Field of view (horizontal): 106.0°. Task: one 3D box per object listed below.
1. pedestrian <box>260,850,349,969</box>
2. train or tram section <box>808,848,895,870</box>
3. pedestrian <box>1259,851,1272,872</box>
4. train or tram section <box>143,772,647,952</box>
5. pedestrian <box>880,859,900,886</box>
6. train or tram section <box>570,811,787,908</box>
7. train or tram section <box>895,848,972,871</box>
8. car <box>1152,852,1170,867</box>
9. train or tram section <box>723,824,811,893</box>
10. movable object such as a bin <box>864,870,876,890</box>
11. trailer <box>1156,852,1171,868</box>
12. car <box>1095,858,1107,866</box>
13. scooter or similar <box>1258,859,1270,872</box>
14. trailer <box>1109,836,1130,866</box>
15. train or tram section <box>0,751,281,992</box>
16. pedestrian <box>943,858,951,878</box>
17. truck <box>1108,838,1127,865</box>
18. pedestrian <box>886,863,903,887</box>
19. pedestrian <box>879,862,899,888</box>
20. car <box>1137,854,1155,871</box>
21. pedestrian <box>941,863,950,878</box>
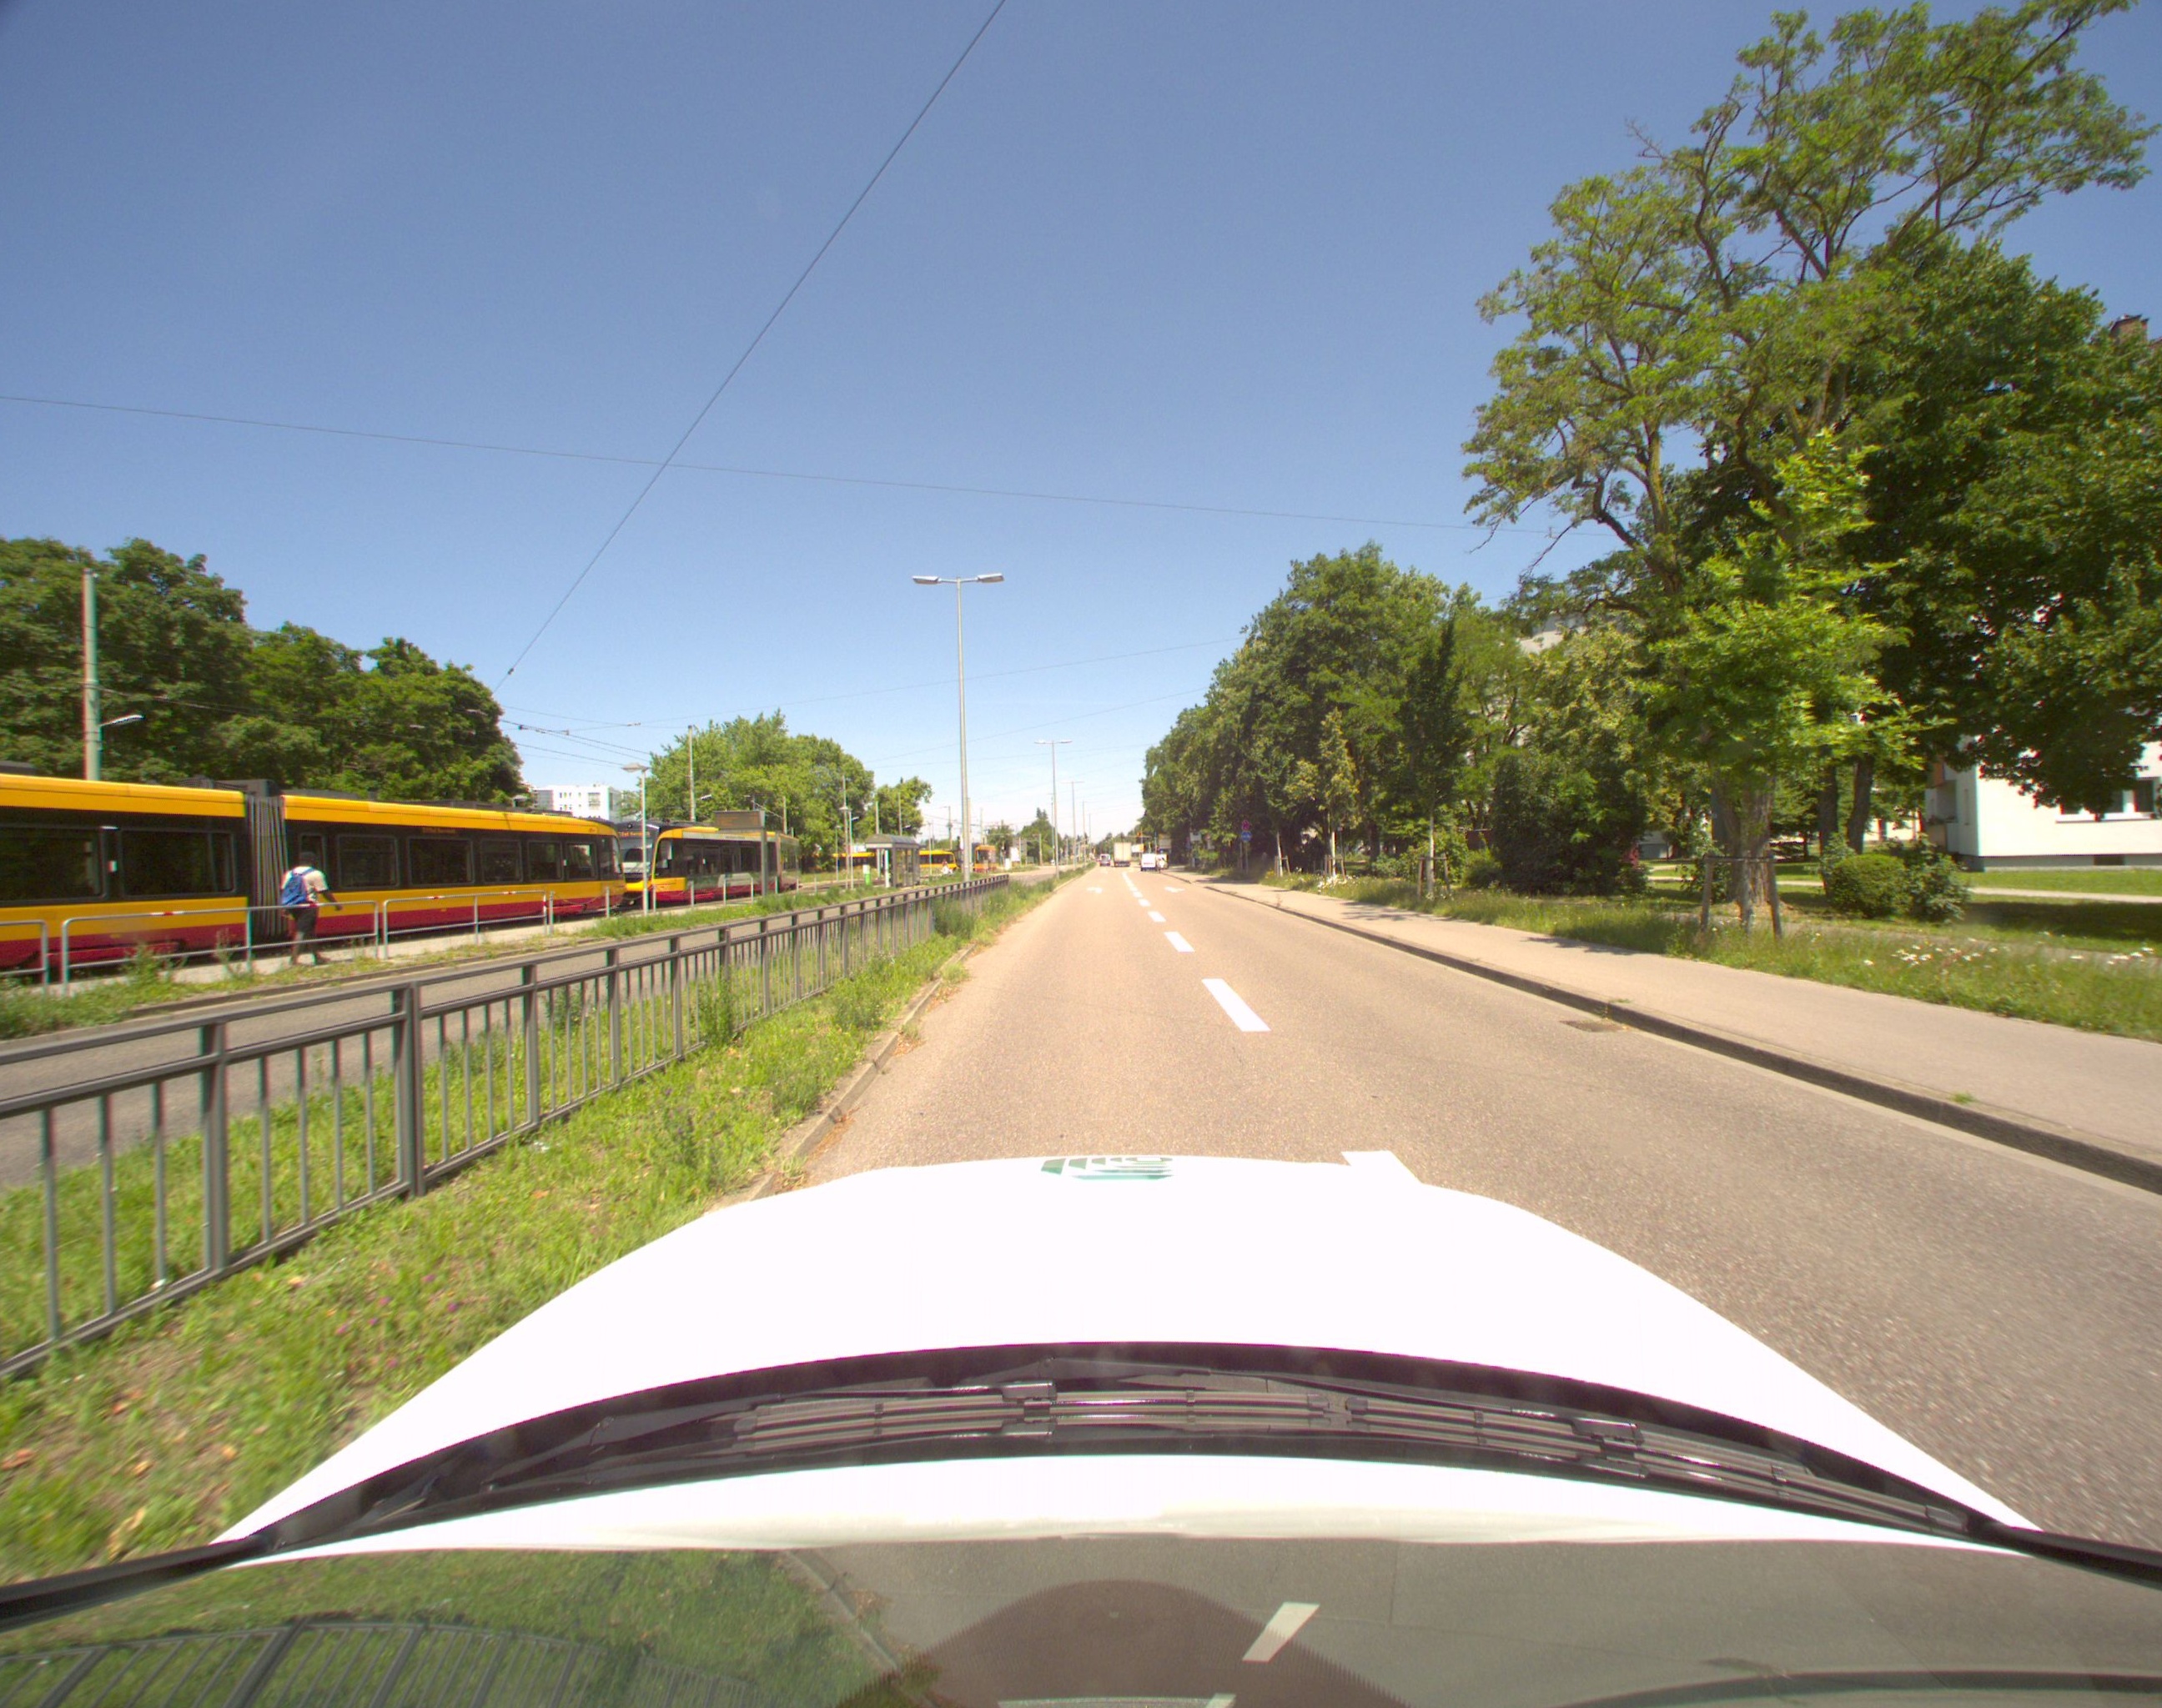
[{"bbox_3d":[-12.116,0.841,12.731,0.630,1.791,0.776,0,0,0],"label":"pedestrian"},{"bbox_3d":[-37.051,0.831,131.512,13.169,3.466,3.048,0,0,2],"label":"train or tram section"},{"bbox_3d":[12.445,0.513,54.923,0.705,1.398,0.763,0,0,3],"label":"pedestrian"},{"bbox_3d":[-17.911,0.170,23.688,3.032,3.767,13.268,0,0,2],"label":"train or tram section"},{"bbox_3d":[-11.070,1.077,47.225,0.871,1.546,1.026,0,0,-1],"label":"pedestrian"},{"bbox_3d":[-17.480,0.202,37.267,3.034,3.624,13.895,0,0,0],"label":"train or tram section"},{"bbox_3d":[-23.262,0.850,128.233,12.591,3.466,3.064,0,0,27],"label":"train or tram section"},{"bbox_3d":[9.184,0.660,93.855,1.694,1.654,4.399,0,0,1],"label":"car"},{"bbox_3d":[-18.653,0.253,49.247,3.046,3.624,12.399,0,0,-12],"label":"train or tram section"},{"bbox_3d":[-10.825,1.332,41.806,0.480,0.978,0.644,-2,0,-2],"label":"movable object such as a bin"},{"bbox_3d":[9.141,0.652,90.218,1.464,1.669,2.856,0,0,0],"label":"trailer"},{"bbox_3d":[3.367,1.348,137.056,1.886,1.372,4.431,1,0,1],"label":"car"},{"bbox_3d":[12.476,0.766,55.454,0.705,0.893,0.763,0,0,3],"label":"scooter or similar"},{"bbox_3d":[5.923,-0.433,126.047,2.818,4.421,8.749,0,0,0],"label":"trailer"},{"bbox_3d":[-18.352,0.284,10.673,3.032,3.741,12.600,0,0,2],"label":"train or tram section"},{"bbox_3d":[-10.631,1.117,64.399,0.533,1.565,0.582,0,0,0],"label":"pedestrian"},{"bbox_3d":[5.963,-0.455,134.573,2.818,4.344,8.284,0,0,0],"label":"truck"},{"bbox_3d":[-10.413,1.163,45.485,0.699,1.283,0.840,0,0,-1],"label":"pedestrian"},{"bbox_3d":[-11.401,1.225,48.400,0.927,1.546,0.985,0,0,-1],"label":"pedestrian"},{"bbox_3d":[6.751,0.853,84.432,1.703,1.747,4.430,0,0,2],"label":"car"},{"bbox_3d":[-10.491,1.266,62.972,0.578,1.189,0.536,0,0,1],"label":"pedestrian"}]
